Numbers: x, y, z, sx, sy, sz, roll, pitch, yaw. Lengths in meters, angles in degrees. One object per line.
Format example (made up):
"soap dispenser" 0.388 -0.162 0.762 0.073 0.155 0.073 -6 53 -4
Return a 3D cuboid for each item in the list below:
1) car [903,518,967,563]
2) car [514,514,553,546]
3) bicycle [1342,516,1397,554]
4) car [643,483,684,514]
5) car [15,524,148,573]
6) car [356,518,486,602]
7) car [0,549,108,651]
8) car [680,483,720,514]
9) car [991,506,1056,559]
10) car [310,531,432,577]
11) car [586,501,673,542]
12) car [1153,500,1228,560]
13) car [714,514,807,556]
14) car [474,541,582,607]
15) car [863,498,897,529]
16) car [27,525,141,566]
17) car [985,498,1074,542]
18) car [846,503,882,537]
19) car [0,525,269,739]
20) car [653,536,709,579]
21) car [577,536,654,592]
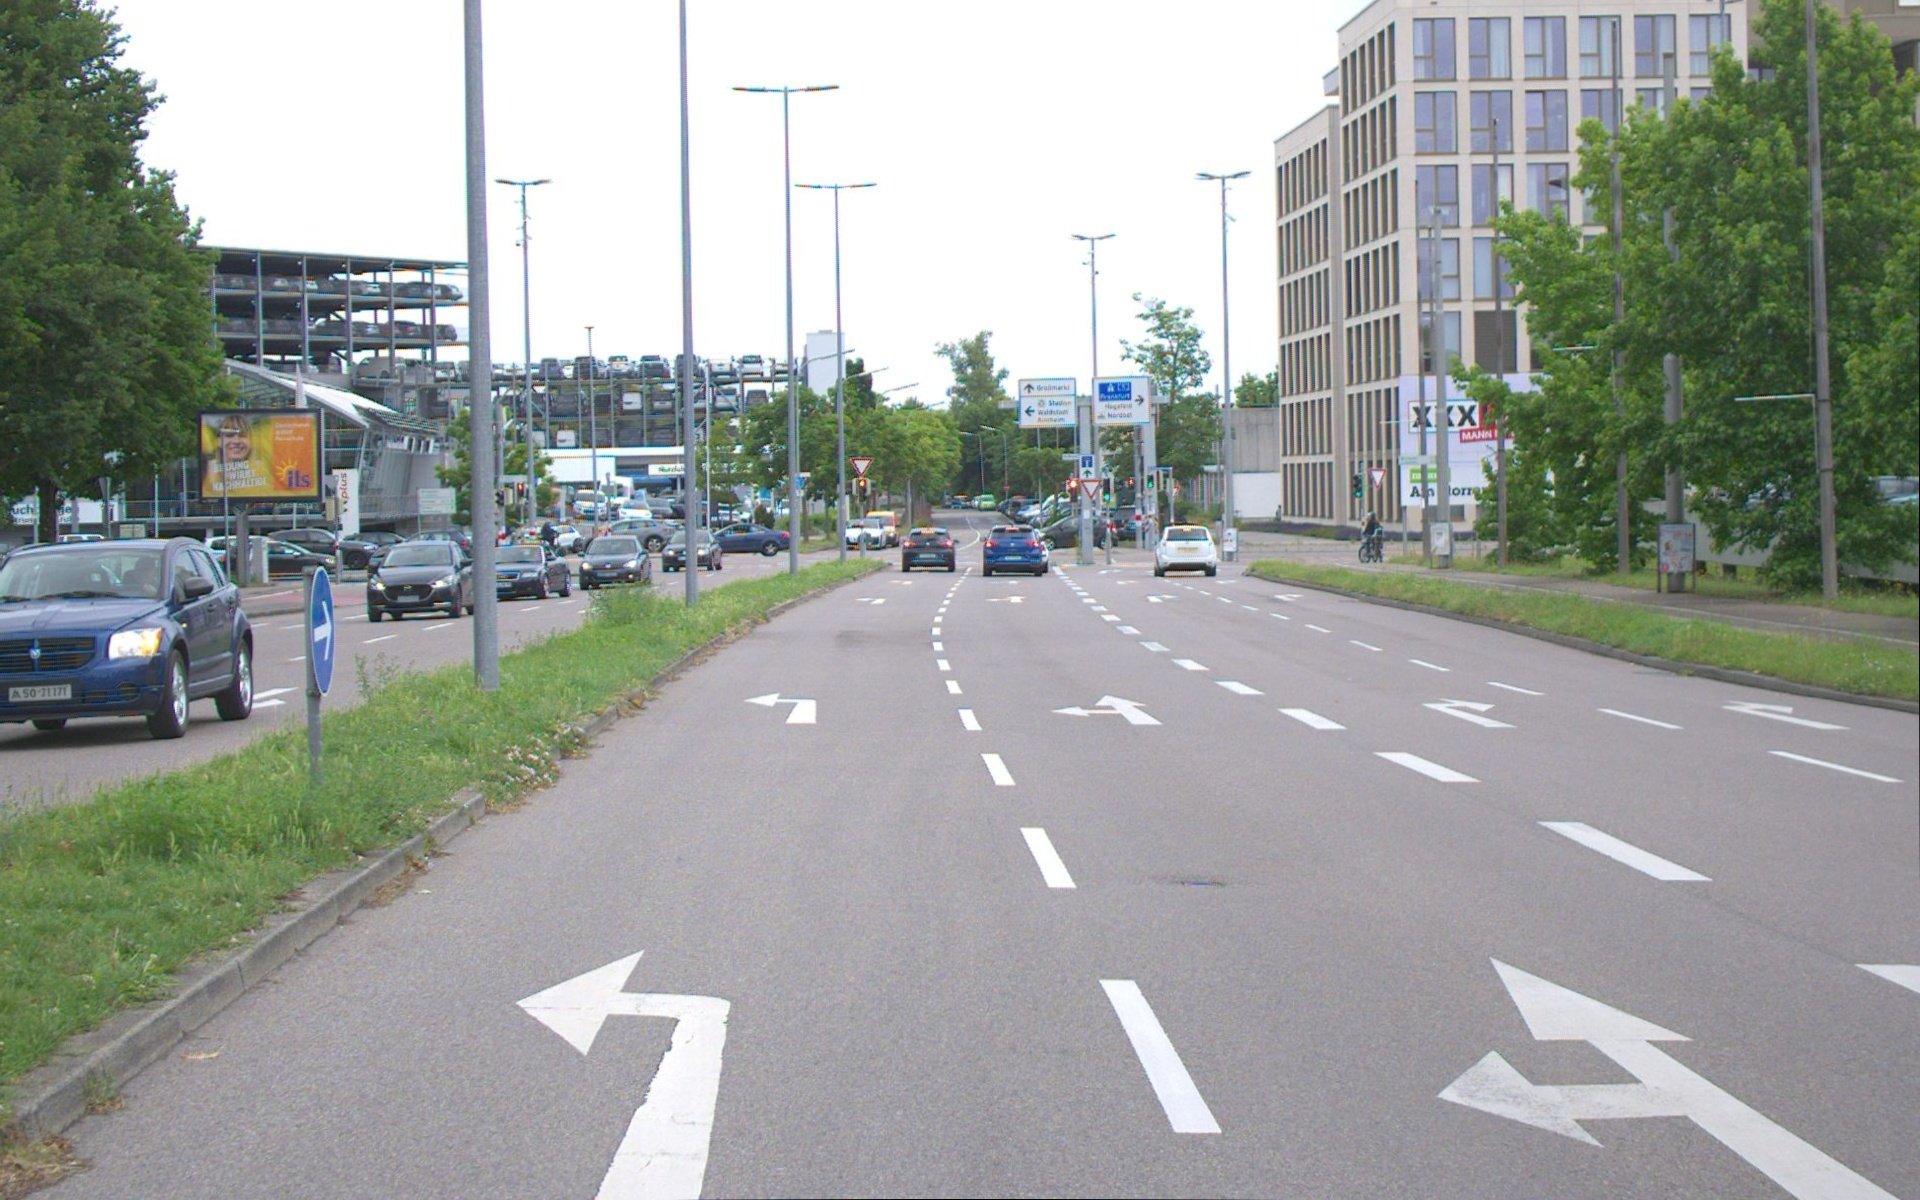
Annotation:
"car" -0.845 -1.943 113.203 1.987 1.423 4.242 -1 1 -2
"car" -19.392 -3.193 156.150 1.370 1.321 3.035 -2 4 -14
"bicycle" 13.979 -2.227 117.410 0.700 1.291 2.011 -2 2 -36
"car" -17.674 -6.055 204.913 1.776 1.700 3.916 0 4 5
"car" -33.102 -1.937 129.641 4.542 1.654 2.001 -2 2 -6
"car" -10.189 -0.775 65.193 1.758 1.448 4.000 -3 1 0
"car" -14.305 -0.008 51.864 1.866 1.449 4.169 -2 1 -1
"car" -15.484 -6.084 204.938 1.776 1.700 3.916 0 4 5
"car" 1.908 -2.064 104.262 1.835 1.509 4.001 -1 2 0
"car" -22.352 -1.758 130.571 4.415 1.654 2.000 -1 1 -6
"car" -15.473 -3.694 161.017 3.986 1.784 1.848 -1 3 -4
"car" 6.826 -2.092 102.328 1.993 1.746 4.180 -1 1 1
"car" -8.456 -2.745 145.527 3.855 1.629 1.725 -1 3 -6
"car" -10.494 -0.661 83.771 1.772 1.447 4.405 -3 1 3
"car" -4.003 -4.354 172.870 1.600 1.448 3.325 -1 3 0
"car" -36.827 -2.295 144.635 4.415 1.654 2.000 -1 1 -6
"car" 2.995 -3.476 149.000 3.675 1.765 1.746 -1 3 -5
"car" -4.600 -3.845 164.742 1.600 1.448 3.325 -1 3 0
"car" -6.775 0.197 26.869 1.931 1.481 4.440 -3 1 -2
"car" -9.838 -1.510 121.094 1.930 1.450 4.183 -1 1 -5
"car" -9.820 -1.040 98.155 1.780 1.450 4.183 -3 2 -1
